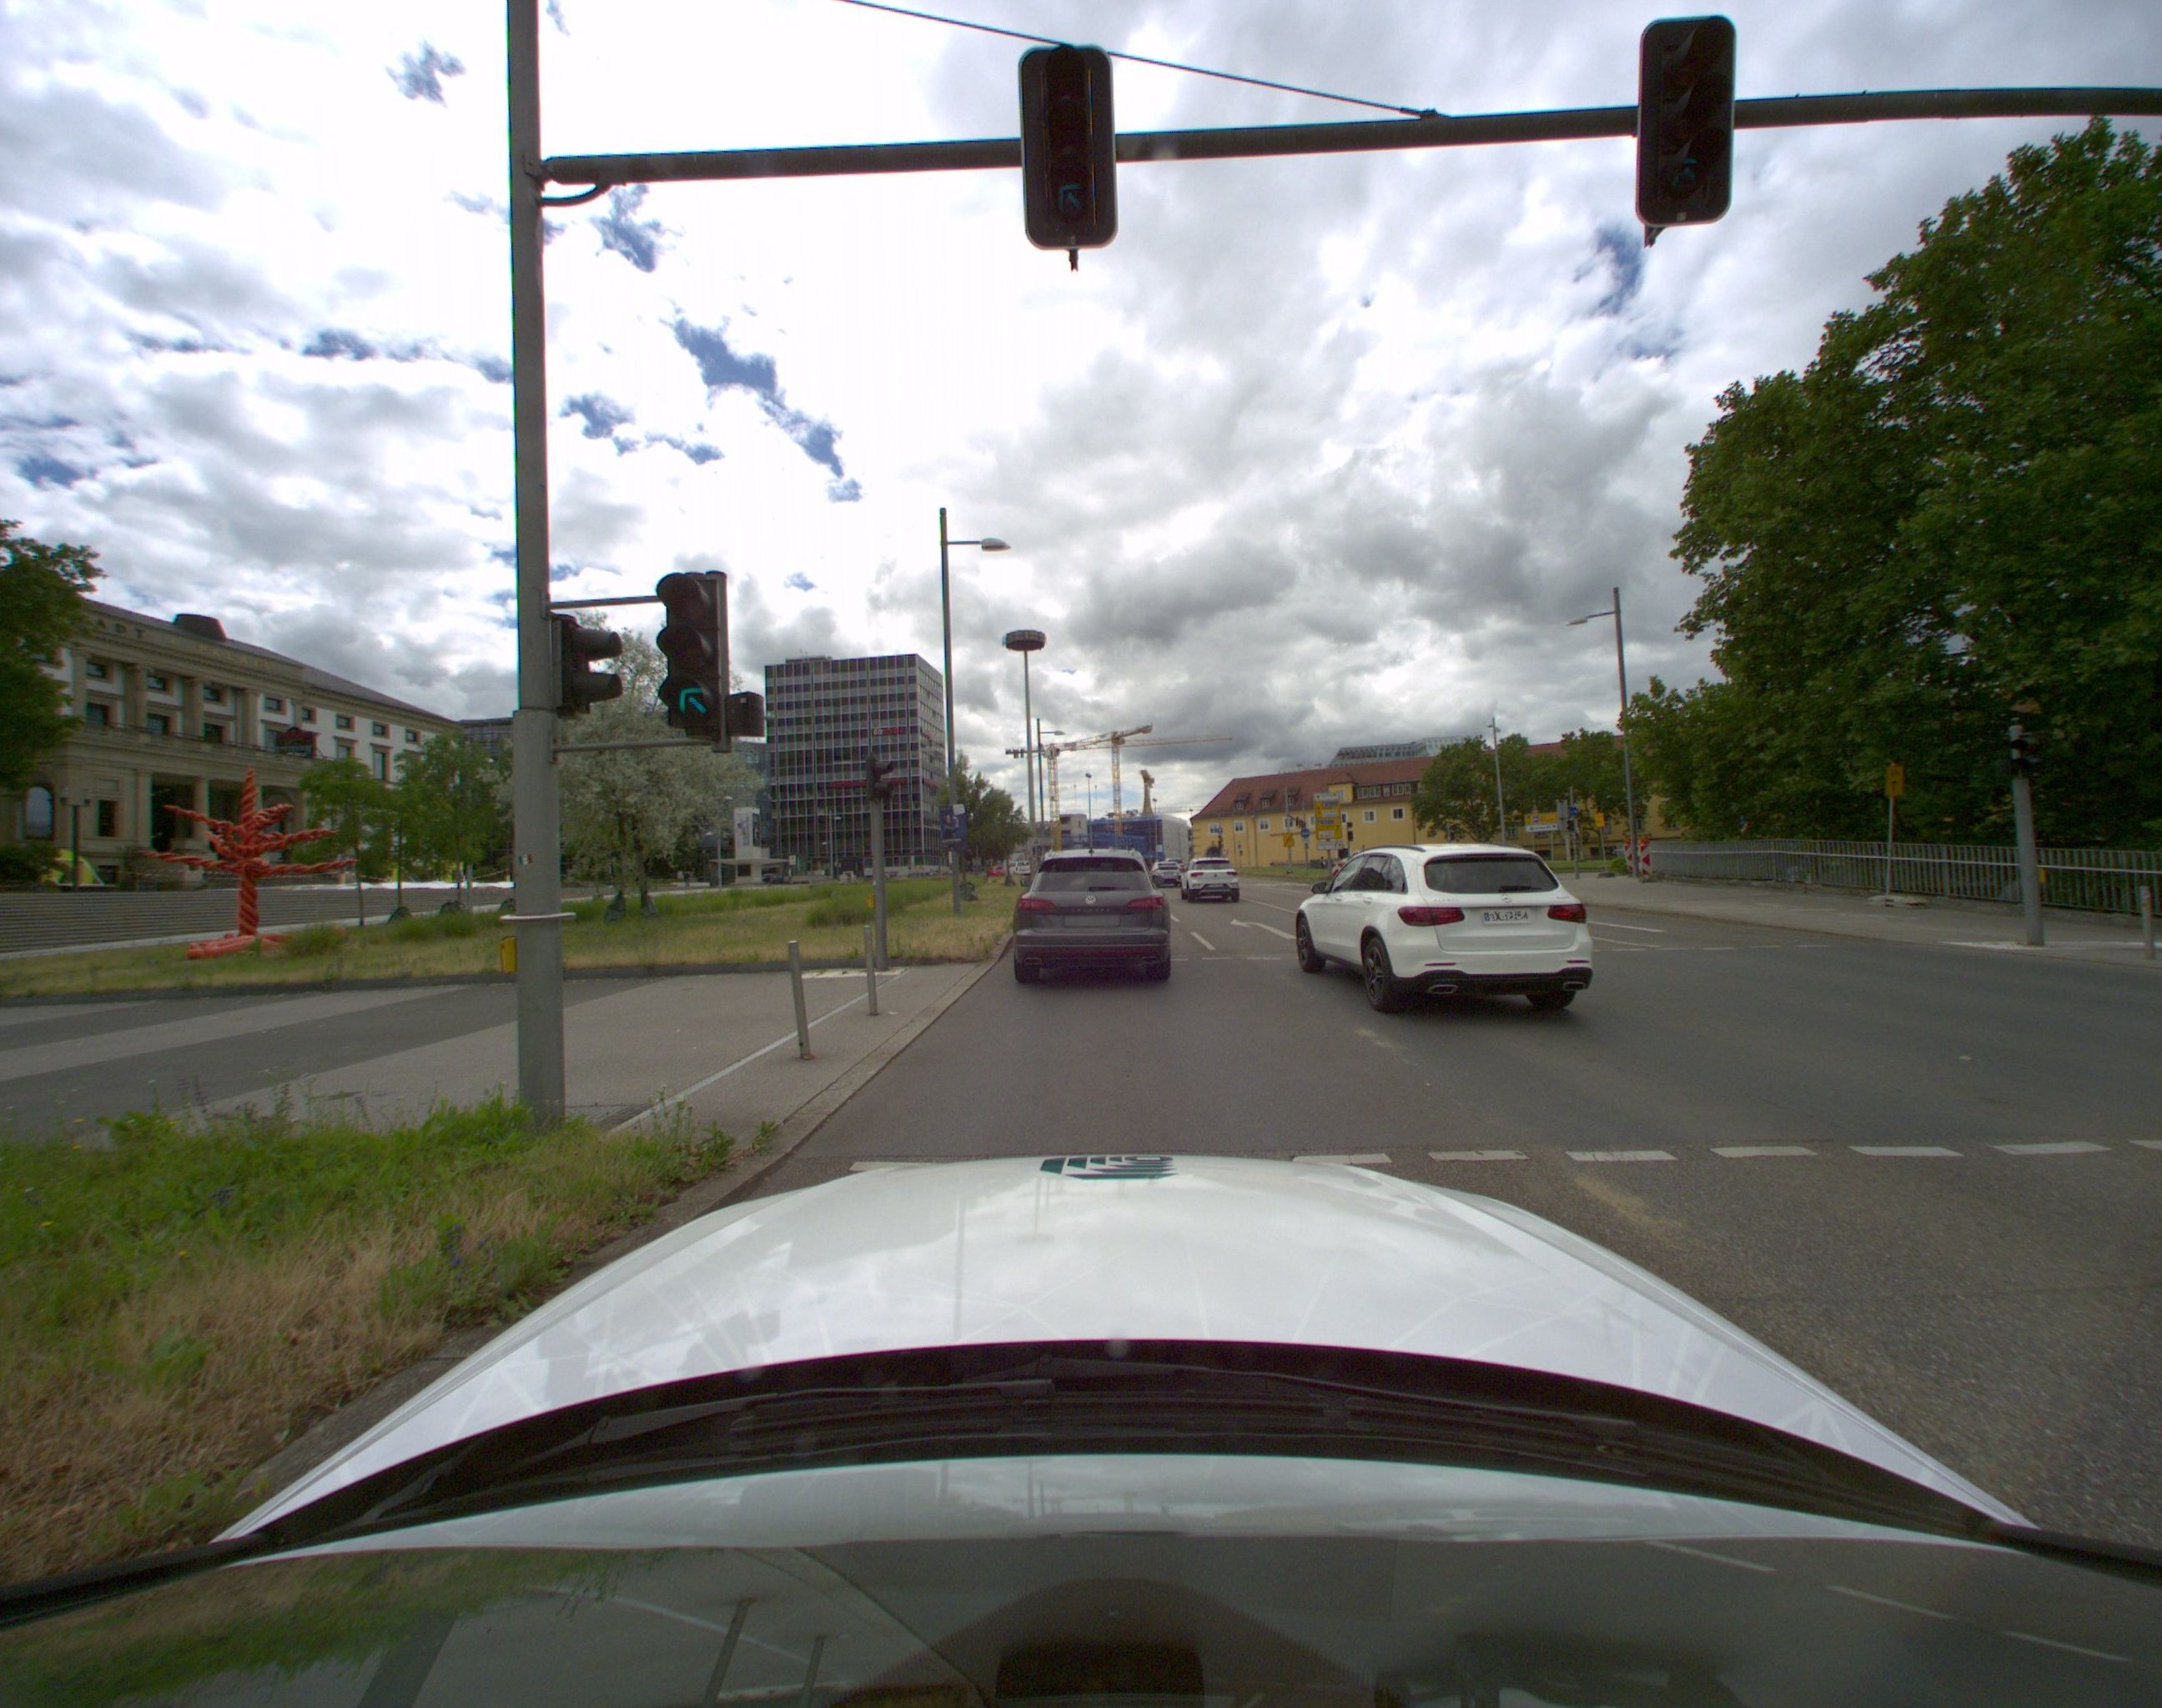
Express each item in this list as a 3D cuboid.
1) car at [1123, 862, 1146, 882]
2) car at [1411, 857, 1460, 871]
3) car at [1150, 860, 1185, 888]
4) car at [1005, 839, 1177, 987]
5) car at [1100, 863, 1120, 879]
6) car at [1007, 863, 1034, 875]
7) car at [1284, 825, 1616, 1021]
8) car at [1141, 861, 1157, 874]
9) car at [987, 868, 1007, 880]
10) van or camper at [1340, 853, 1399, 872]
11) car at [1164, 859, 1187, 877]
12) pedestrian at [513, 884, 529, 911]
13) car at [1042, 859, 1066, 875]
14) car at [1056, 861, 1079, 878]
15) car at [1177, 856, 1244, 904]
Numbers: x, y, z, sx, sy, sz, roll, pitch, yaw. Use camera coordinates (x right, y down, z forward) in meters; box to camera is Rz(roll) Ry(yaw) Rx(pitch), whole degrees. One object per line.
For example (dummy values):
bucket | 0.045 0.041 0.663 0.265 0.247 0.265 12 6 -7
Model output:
car | 4.170 1.385 62.958 1.711 1.502 3.986 0 -1 4
car | 38.511 1.124 88.594 4.632 1.420 1.607 -2 -2 33
car | 4.822 1.099 45.892 1.712 1.502 4.146 -1 -1 3
car | 0.174 0.694 11.341 1.926 1.647 4.001 -1 -1 2
car | 2.808 1.629 79.392 1.809 1.496 3.905 -2 0 -1
car | -7.585 1.866 101.192 2.251 1.502 4.582 -1 -1 -18
car | 3.738 0.614 9.231 1.812 1.647 4.379 -1 -1 1
car | 8.189 1.566 97.900 1.712 1.502 3.984 -1 -1 3
car | -11.612 2.727 111.928 1.726 1.502 3.951 -1 -1 -22
van or camper | 32.813 0.945 92.684 5.946 2.014 2.032 -3 -2 37
car | 8.431 1.223 73.020 1.795 1.502 3.984 -1 -1 3
pedestrian | -34.617 2.704 50.327 0.522 1.649 0.650 -1 -1 0
car | -3.292 1.537 99.852 1.899 1.610 3.976 -2 4 -18
car | -1.292 1.431 77.240 1.812 1.496 3.897 -1 -1 -7
car | 4.574 0.883 29.319 1.886 1.585 3.802 -1 -1 2
